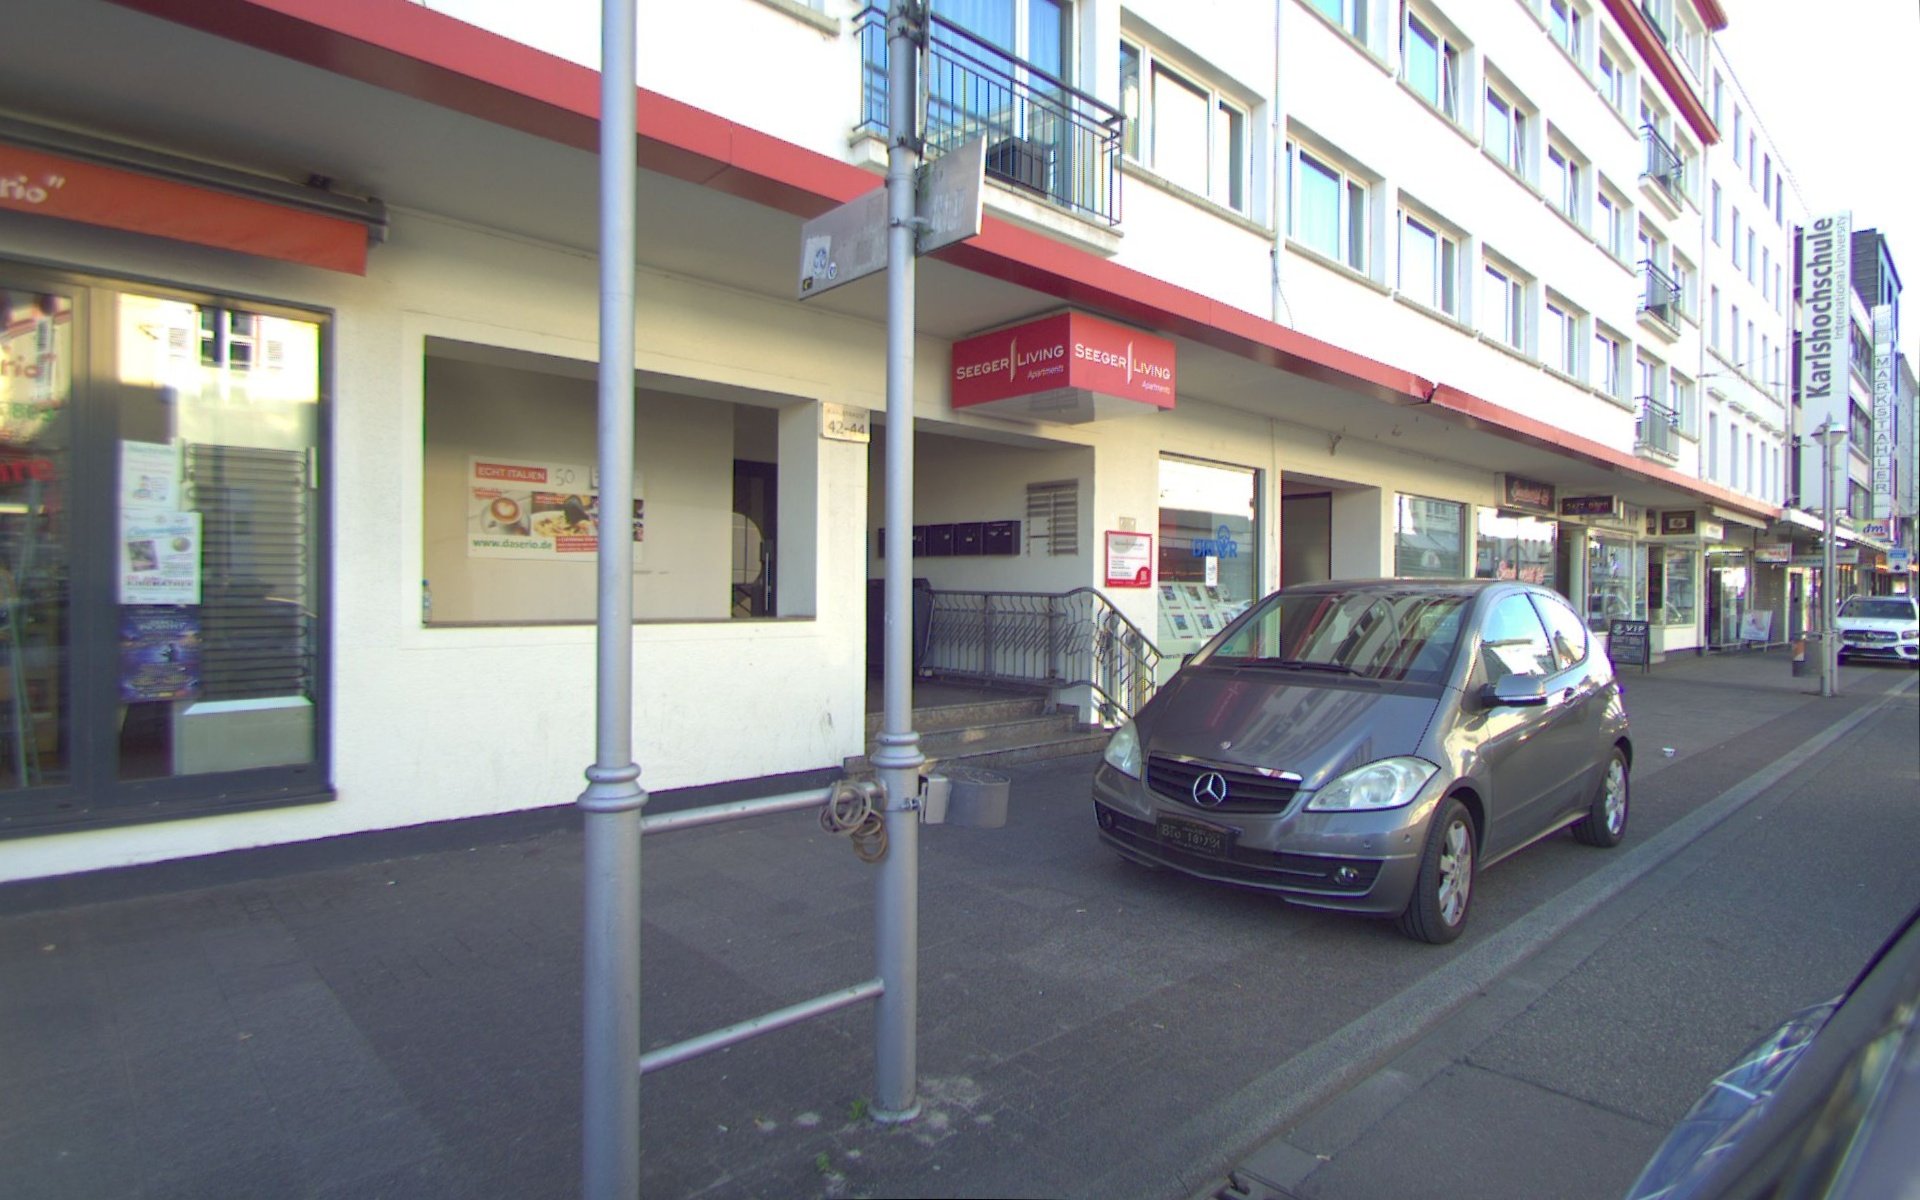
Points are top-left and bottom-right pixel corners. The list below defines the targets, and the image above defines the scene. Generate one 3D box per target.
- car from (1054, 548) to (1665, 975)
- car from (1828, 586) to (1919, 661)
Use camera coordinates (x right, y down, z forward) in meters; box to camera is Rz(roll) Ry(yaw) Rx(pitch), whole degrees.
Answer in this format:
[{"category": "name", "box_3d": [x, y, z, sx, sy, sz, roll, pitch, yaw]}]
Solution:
[{"category": "car", "box_3d": [2.459, 0.595, 5.680, 3.932, 1.565, 1.681, 0, 0, -43]}, {"category": "car", "box_3d": [22.391, 0.516, 24.347, 1.994, 1.650, 3.935, 1, 1, 45]}]
